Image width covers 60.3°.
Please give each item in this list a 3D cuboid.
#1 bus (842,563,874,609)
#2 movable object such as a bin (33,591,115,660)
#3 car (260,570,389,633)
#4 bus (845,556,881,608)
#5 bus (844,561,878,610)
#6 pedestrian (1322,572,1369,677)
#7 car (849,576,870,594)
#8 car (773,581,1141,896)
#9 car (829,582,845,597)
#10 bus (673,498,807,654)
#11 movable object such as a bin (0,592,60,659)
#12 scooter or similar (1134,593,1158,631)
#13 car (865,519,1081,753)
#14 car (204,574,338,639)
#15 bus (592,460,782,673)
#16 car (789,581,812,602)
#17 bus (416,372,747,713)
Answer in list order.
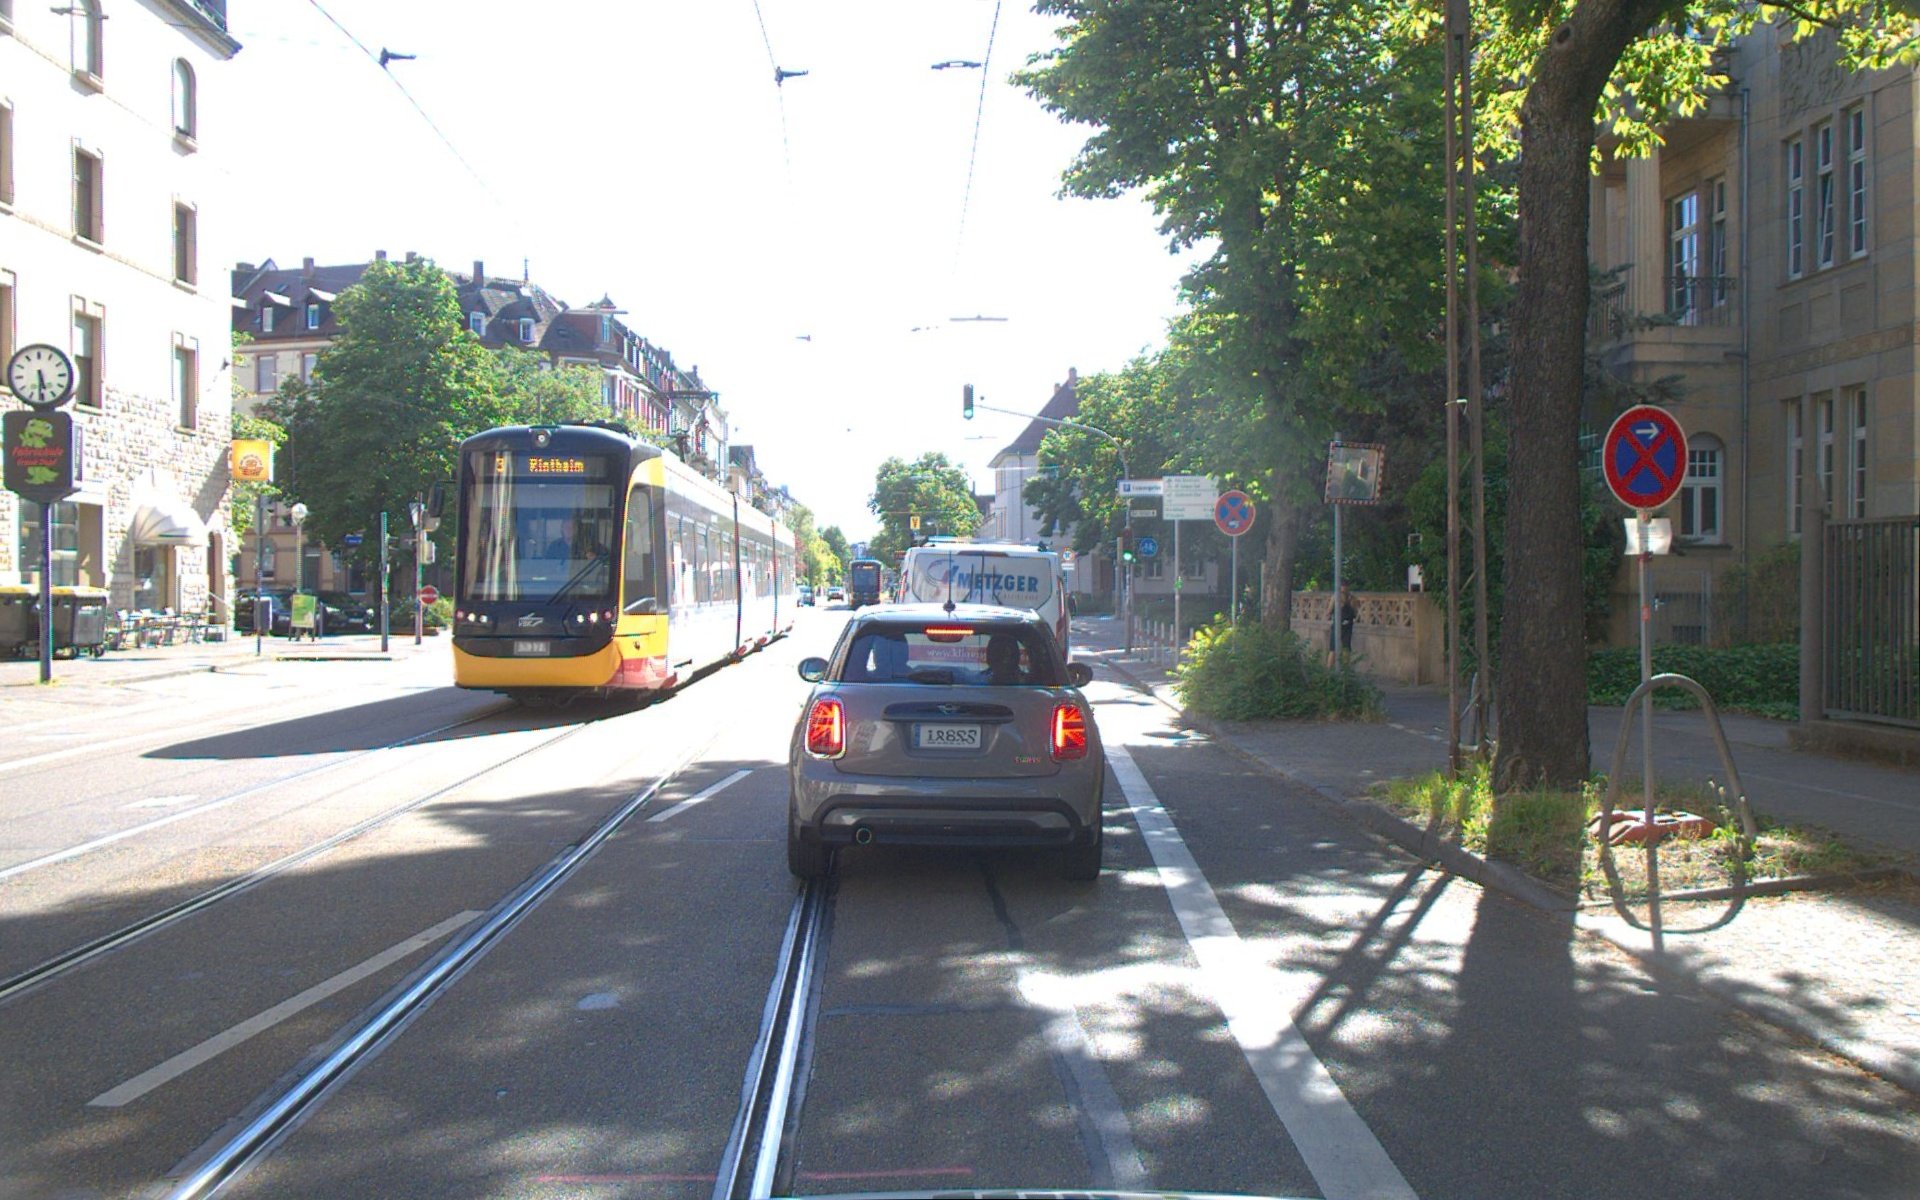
[{"bbox_3d":[-8.226,-1.096,133.159,2.339,3.557,7.376,1,0,-5],"label":"bus"},{"bbox_3d":[-17.111,0.485,31.968,0.925,1.296,1.144,1,0,3],"label":"movable object such as a bin"},{"bbox_3d":[-21.623,0.057,56.281,3.910,2.049,1.997,1,0,28],"label":"car"},{"bbox_3d":[-6.970,-1.217,118.406,2.339,3.557,7.376,1,0,-5],"label":"bus"},{"bbox_3d":[-7.600,-1.051,125.785,2.339,3.557,7.376,1,0,-5],"label":"bus"},{"bbox_3d":[6.415,0.401,27.529,0.580,1.700,0.646,-2,0,-1],"label":"pedestrian"},{"bbox_3d":[-9.199,-1.362,151.574,1.827,1.591,3.996,1,0,-4],"label":"car"},{"bbox_3d":[-0.039,0.686,10.091,1.778,1.514,3.999,1,0,-1],"label":"car"},{"bbox_3d":[-14.086,-1.218,189.305,1.741,1.646,3.996,1,0,-4],"label":"car"},{"bbox_3d":[-6.073,-0.580,47.452,2.793,3.843,12.189,1,0,-3],"label":"bus"},{"bbox_3d":[-18.009,0.485,31.664,0.815,1.244,1.244,1,0,1],"label":"movable object such as a bin"},{"bbox_3d":[6.609,0.421,58.912,0.662,1.333,1.328,1,0,-2],"label":"scooter or similar"},{"bbox_3d":[0.093,0.358,18.607,2.075,2.247,4.943,1,0,-1],"label":"car"},{"bbox_3d":[-22.571,0.208,54.189,3.910,2.049,1.997,1,0,28],"label":"car"},{"bbox_3d":[-5.592,-0.593,35.894,2.803,3.843,11.176,1,0,-3],"label":"bus"},{"bbox_3d":[-12.970,-0.714,134.776,1.741,1.646,3.996,1,0,-4],"label":"car"},{"bbox_3d":[-5.047,-0.628,24.605,2.803,3.843,11.490,1,0,-3],"label":"bus"}]
